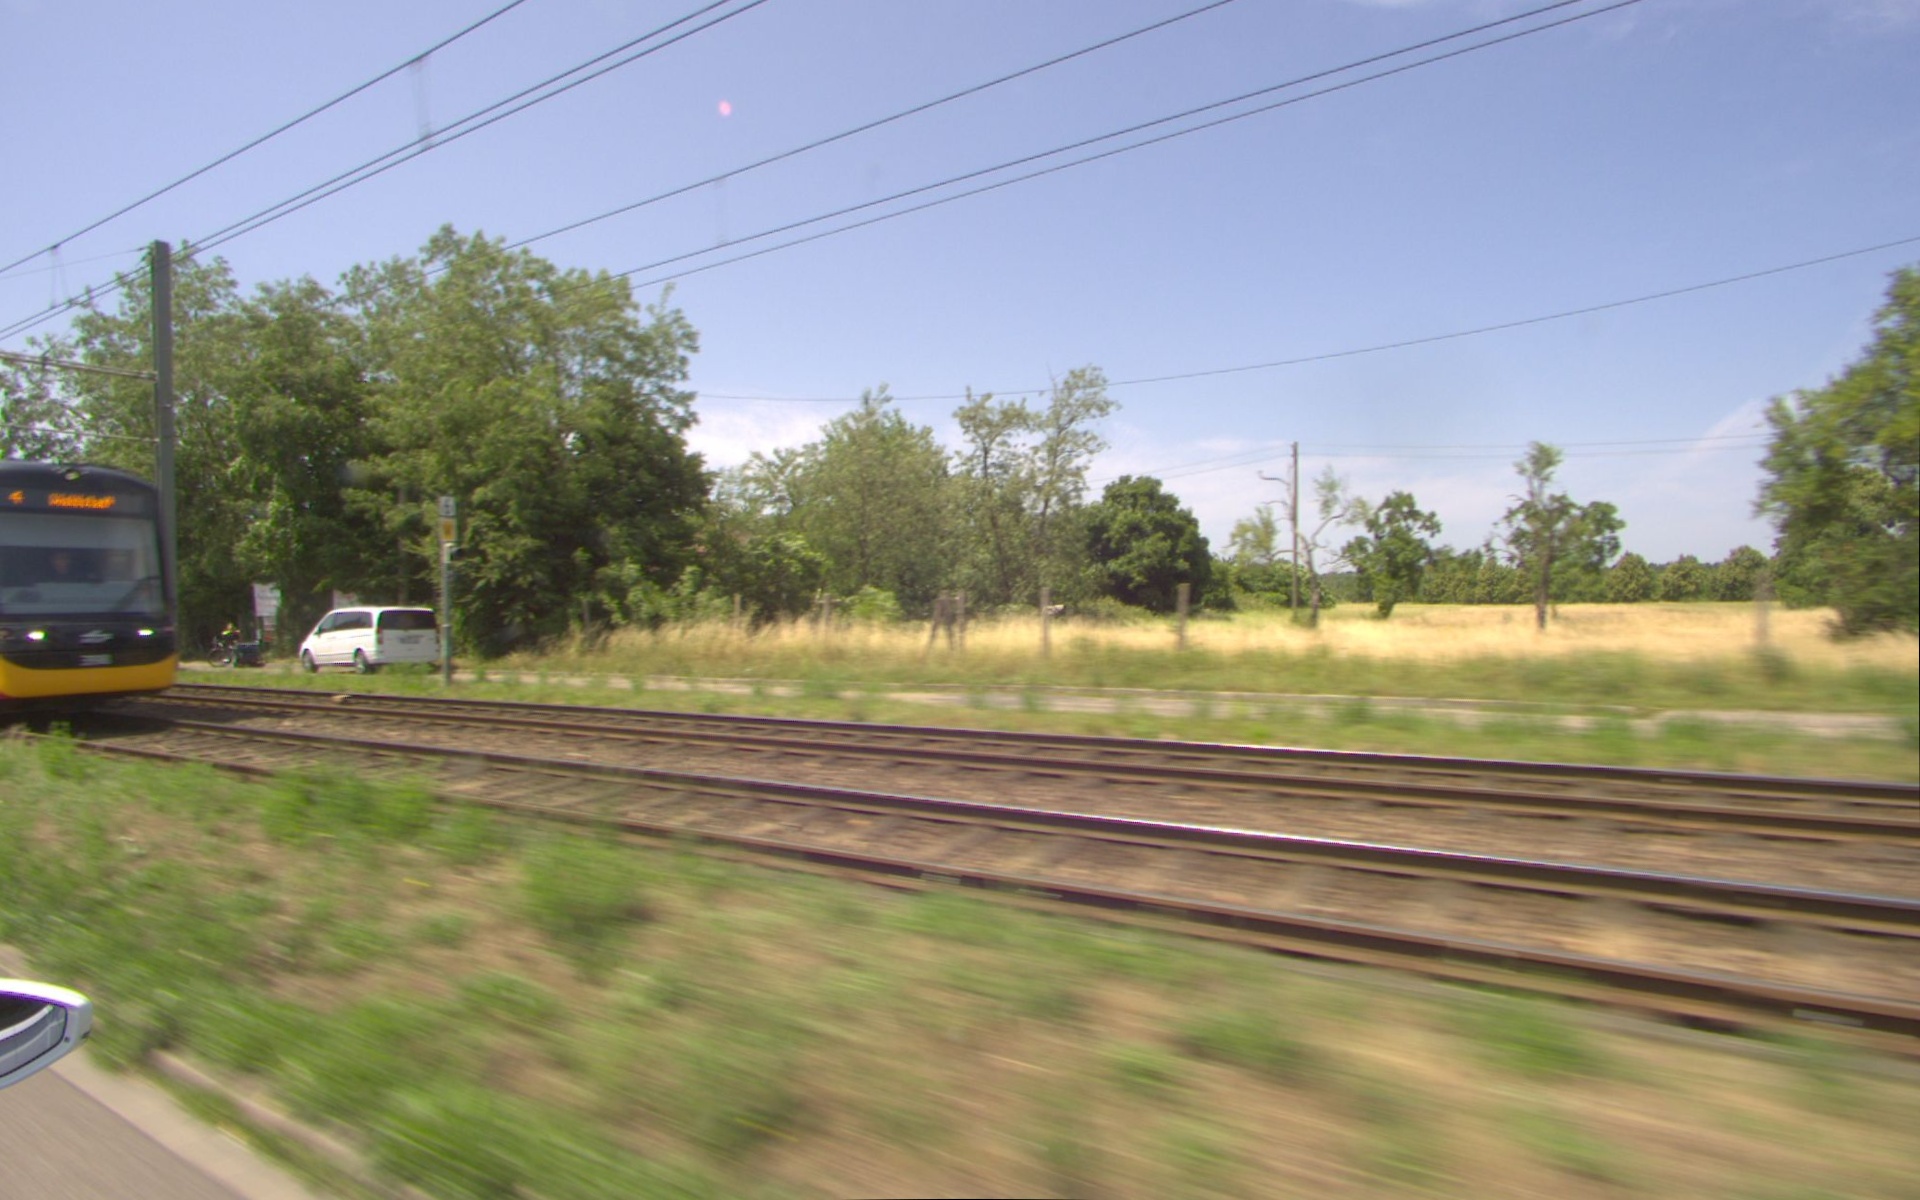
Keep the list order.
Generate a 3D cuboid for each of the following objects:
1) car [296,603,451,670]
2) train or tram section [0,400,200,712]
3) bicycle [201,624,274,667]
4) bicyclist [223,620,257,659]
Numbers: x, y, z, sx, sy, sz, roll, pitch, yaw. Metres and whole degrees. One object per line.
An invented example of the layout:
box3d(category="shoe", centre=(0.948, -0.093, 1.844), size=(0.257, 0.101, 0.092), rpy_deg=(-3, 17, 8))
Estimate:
box3d(category="car", centre=(-17.305, 1.073, 29.489), size=(4.727, 1.826, 1.989), rpy_deg=(-2, -1, 32))
box3d(category="train or tram section", centre=(-16.080, -0.368, 15.976), size=(11.396, 3.815, 2.424), rpy_deg=(-2, 0, 32))
box3d(category="bicycle", centre=(-25.792, 1.624, 35.717), size=(3.338, 1.448, 0.926), rpy_deg=(-2, 0, 33))
box3d(category="bicyclist", centre=(-25.746, 1.424, 35.808), size=(0.891, 1.355, 0.700), rpy_deg=(-2, 0, 32))
